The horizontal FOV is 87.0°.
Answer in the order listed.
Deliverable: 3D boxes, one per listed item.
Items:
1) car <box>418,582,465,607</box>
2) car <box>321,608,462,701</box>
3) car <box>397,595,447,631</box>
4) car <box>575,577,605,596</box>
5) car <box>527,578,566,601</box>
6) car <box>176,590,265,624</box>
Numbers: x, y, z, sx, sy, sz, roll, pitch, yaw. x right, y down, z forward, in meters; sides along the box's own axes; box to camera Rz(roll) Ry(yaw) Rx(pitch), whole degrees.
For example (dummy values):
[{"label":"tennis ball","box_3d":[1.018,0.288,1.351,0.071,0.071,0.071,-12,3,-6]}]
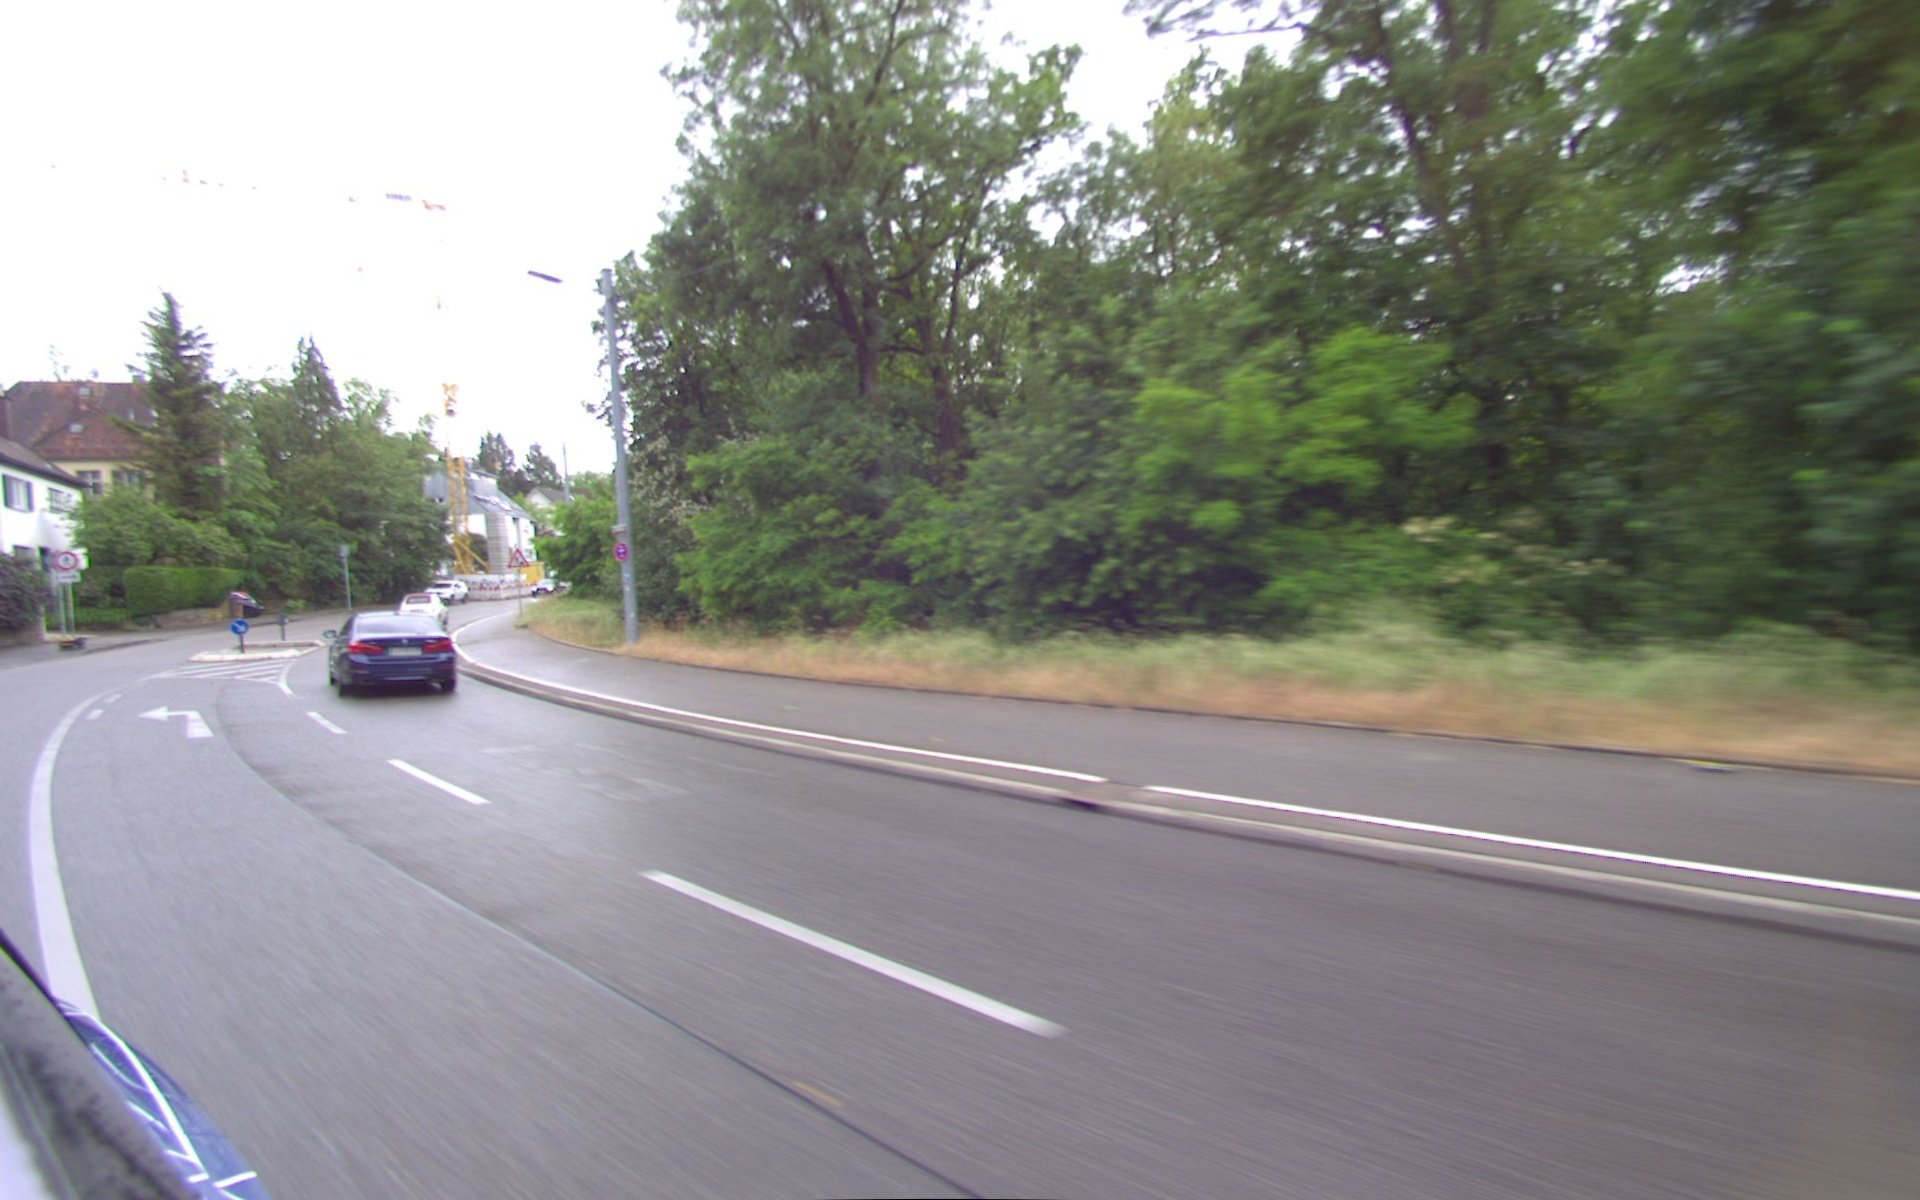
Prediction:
[{"label":"car","box_3d":[-35.530,-0.378,69.405,1.803,1.607,4.009,0,2,-10]},{"label":"car","box_3d":[-10.665,0.905,18.813,1.822,1.512,4.643,1,-1,-35]},{"label":"car","box_3d":[-23.994,0.559,45.214,1.544,1.488,3.679,-1,1,-21]},{"label":"car","box_3d":[-31.005,-1.122,84.950,1.611,1.465,3.810,-1,2,-9]},{"label":"car","box_3d":[-33.793,-0.875,82.789,1.968,1.729,4.008,-1,2,-8]},{"label":"car","box_3d":[-39.046,0.360,53.531,3.430,1.422,1.432,-5,3,-17]}]
